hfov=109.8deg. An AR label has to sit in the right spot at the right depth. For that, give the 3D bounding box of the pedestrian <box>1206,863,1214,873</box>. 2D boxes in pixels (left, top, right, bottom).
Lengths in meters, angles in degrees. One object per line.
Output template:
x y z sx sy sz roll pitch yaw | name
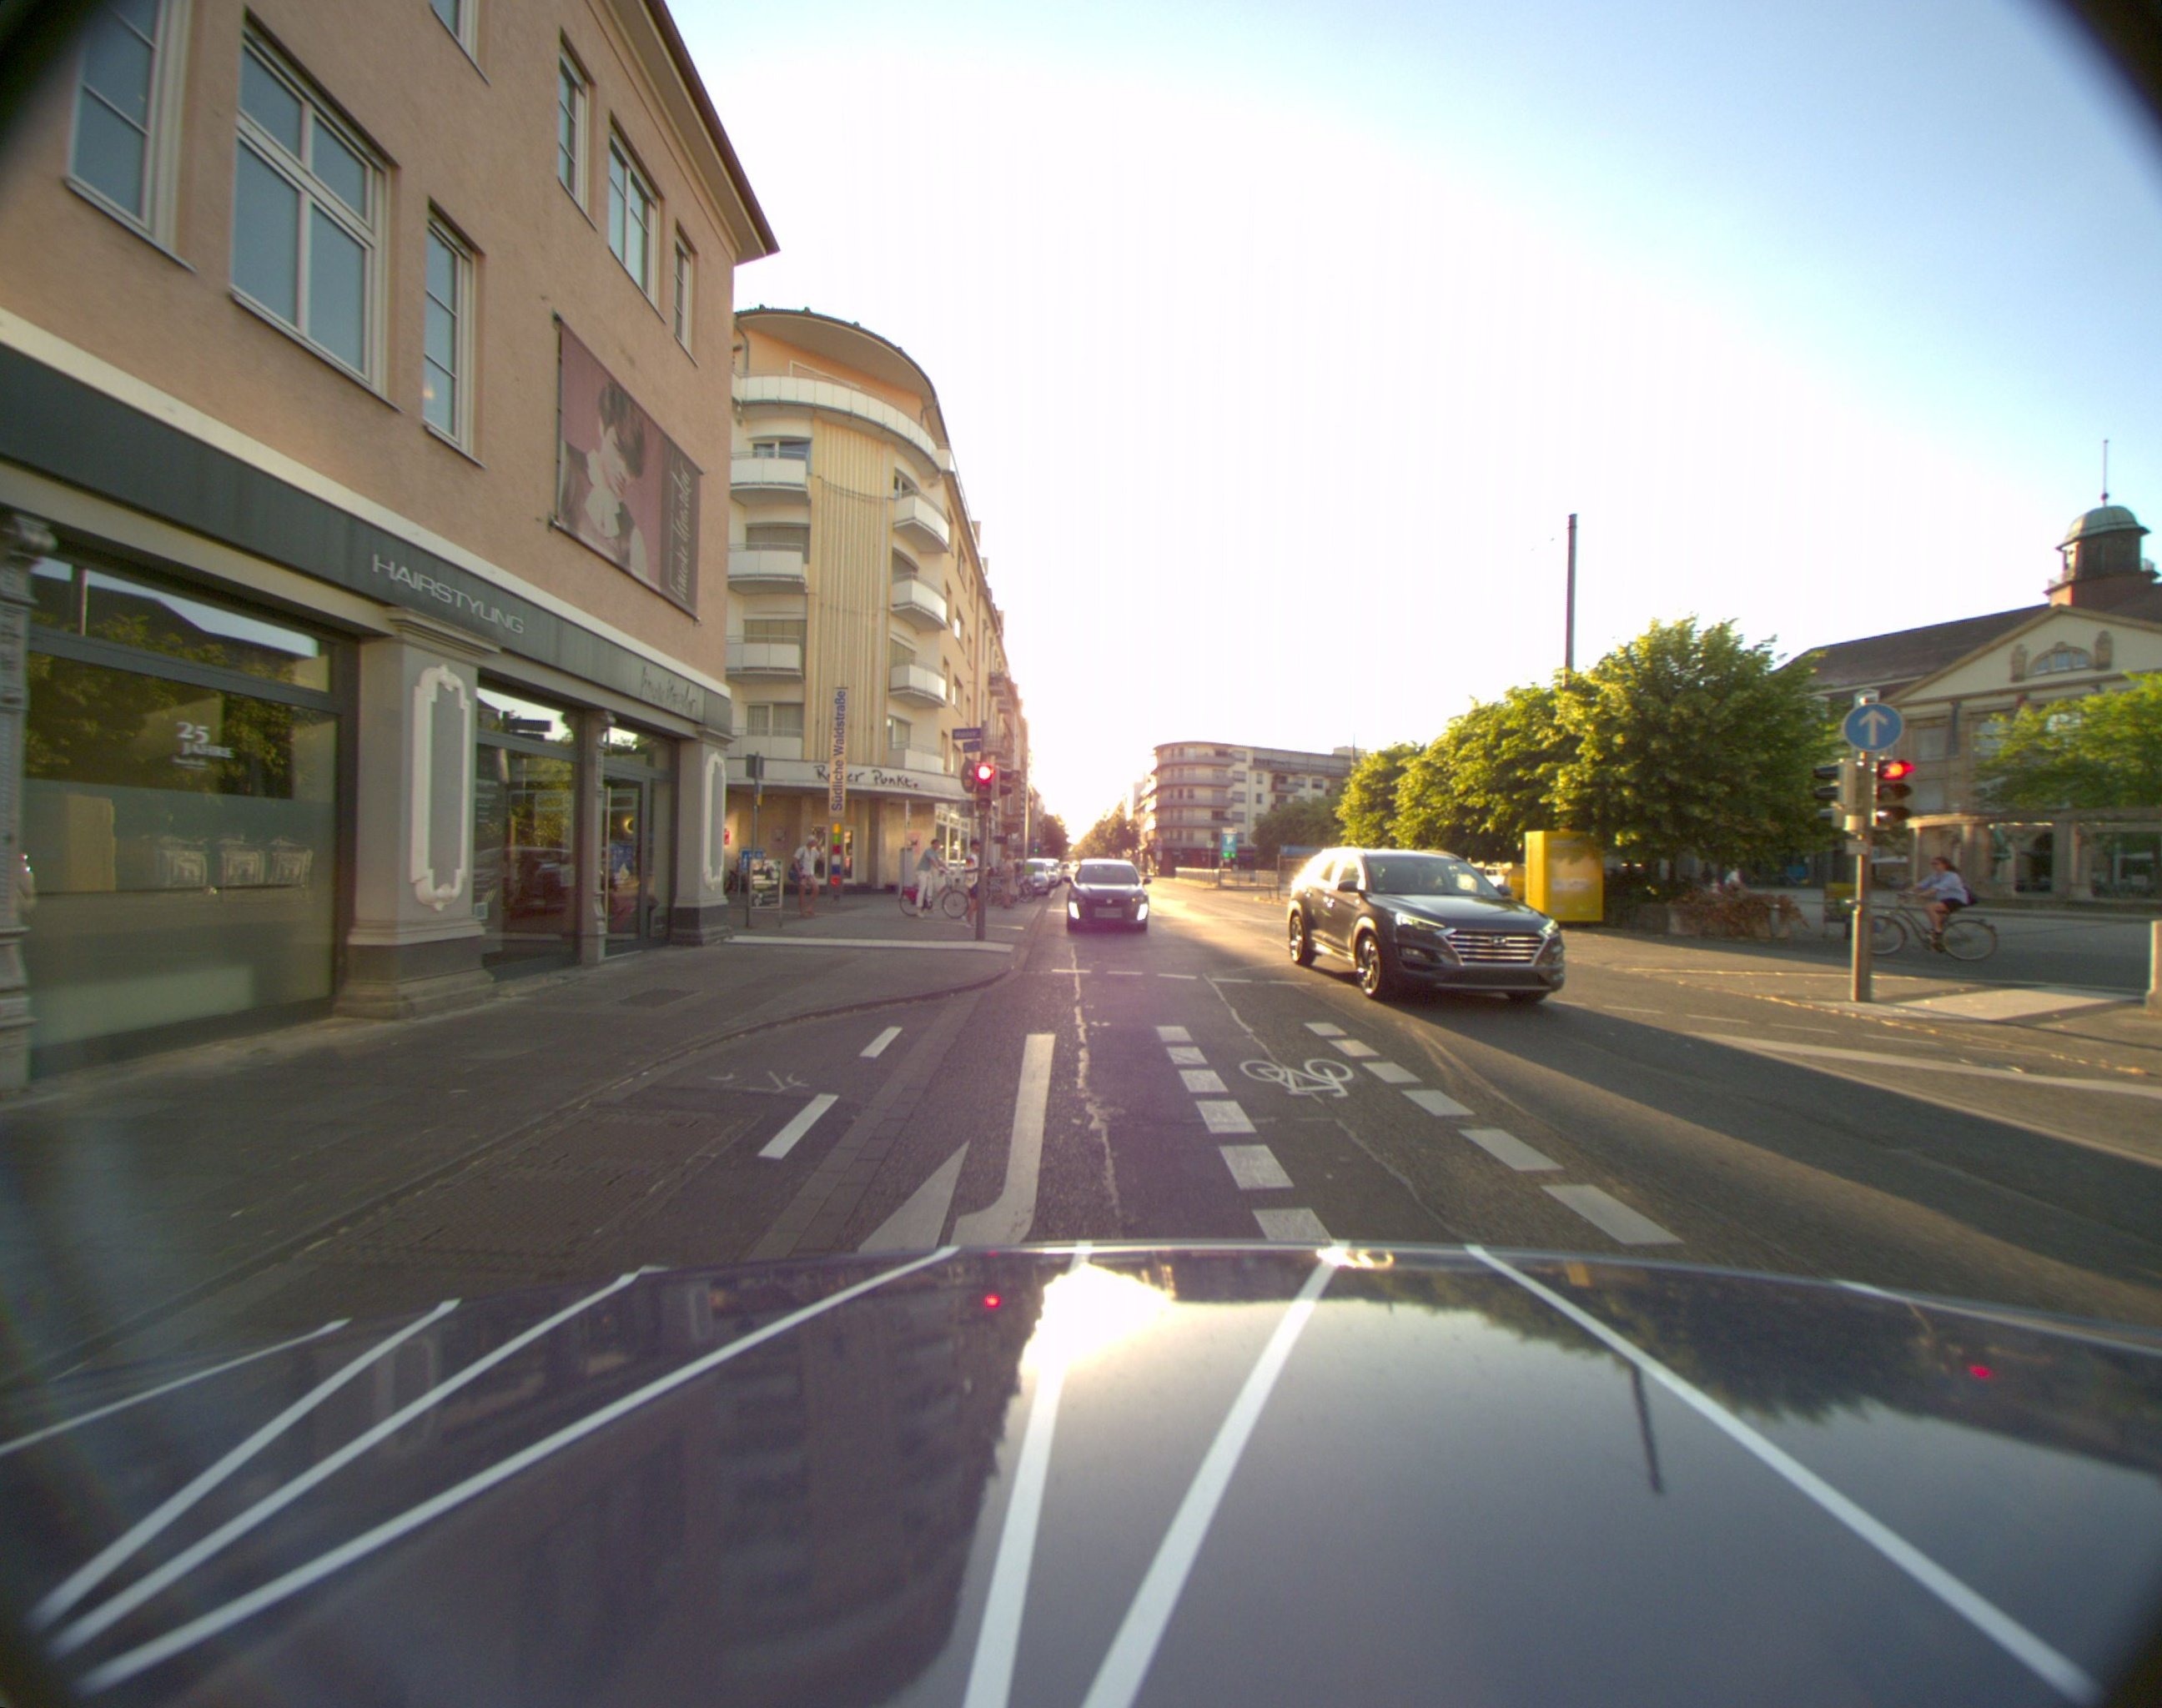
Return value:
17.441 1.847 102.677 0.689 1.314 0.819 1 0 -25 | pedestrian

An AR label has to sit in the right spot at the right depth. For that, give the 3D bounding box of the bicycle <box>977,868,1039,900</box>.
-2.667 1.081 27.599 2.176 1.069 0.805 2 0 -8 | bicycle

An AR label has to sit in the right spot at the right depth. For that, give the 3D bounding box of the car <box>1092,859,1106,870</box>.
2.660 1.504 110.877 1.790 1.458 3.956 2 0 -2 | car

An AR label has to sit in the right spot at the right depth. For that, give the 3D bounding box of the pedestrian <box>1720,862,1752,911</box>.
22.240 1.074 25.817 0.703 1.611 0.842 0 1 32 | pedestrian

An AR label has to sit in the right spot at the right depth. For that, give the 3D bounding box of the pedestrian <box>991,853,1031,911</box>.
-2.054 0.795 22.263 0.789 1.643 0.782 1 0 42 | pedestrian

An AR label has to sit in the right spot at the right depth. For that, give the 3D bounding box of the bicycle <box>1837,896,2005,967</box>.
14.927 1.357 13.561 1.917 1.111 0.706 1 0 16 | bicycle

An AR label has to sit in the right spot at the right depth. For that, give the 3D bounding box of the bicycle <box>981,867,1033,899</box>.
-2.775 1.083 28.597 1.851 1.117 0.594 2 1 -12 | bicycle

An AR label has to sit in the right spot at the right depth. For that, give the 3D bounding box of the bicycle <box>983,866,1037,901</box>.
-2.508 1.032 26.807 1.788 1.166 0.621 3 0 -12 | bicycle

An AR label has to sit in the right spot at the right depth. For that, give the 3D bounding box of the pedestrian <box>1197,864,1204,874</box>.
15.910 1.976 101.201 0.732 1.314 0.889 1 0 -2 | pedestrian

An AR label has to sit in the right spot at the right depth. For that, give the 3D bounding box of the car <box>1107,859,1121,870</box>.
5.401 1.701 126.333 1.999 1.805 3.999 1 0 -2 | car

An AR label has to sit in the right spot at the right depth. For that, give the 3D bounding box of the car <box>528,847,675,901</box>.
-15.291 0.599 24.269 3.980 1.583 1.838 1 0 19 | car

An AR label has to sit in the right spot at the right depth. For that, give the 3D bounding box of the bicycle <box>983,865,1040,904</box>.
-2.319 1.018 25.273 1.849 1.232 0.639 2 0 -6 | bicycle

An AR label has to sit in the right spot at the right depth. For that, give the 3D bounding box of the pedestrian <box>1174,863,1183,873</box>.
12.806 1.885 99.989 0.890 1.314 0.731 1 0 -28 | pedestrian

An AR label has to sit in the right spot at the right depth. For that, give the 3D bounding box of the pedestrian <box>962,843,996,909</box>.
-2.881 0.621 21.426 0.826 1.806 0.870 1 0 -14 | pedestrian

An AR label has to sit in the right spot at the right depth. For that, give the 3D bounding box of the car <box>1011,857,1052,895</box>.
-2.236 0.974 34.871 1.702 1.607 4.681 1 0 -3 | car

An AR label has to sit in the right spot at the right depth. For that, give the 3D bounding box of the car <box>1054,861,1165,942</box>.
0.765 0.897 16.265 1.907 1.438 4.453 1 0 8 | car

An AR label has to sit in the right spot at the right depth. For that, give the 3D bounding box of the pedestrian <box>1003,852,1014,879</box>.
-5.473 0.872 57.411 0.673 2.002 0.851 1 0 0 | pedestrian

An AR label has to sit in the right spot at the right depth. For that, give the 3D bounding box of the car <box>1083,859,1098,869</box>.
1.497 1.621 123.165 1.878 1.621 4.176 4 -1 -6 | car

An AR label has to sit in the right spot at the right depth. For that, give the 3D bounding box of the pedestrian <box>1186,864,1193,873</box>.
14.290 1.960 100.211 0.887 1.185 0.733 1 0 9 | pedestrian

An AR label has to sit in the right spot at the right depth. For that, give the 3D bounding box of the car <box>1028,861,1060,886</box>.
-2.209 1.144 46.840 1.738 1.448 4.610 1 0 0 | car

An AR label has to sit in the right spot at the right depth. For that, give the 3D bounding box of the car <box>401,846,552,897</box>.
-20.473 0.547 25.754 4.431 1.575 1.949 1 0 20 | car

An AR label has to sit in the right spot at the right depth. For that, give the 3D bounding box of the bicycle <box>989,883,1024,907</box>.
-2.334 1.269 23.704 1.008 0.677 1.049 1 0 -10 | bicycle

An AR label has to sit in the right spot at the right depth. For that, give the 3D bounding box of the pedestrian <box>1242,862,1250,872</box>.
22.500 1.805 103.514 0.731 1.314 0.891 1 0 38 | pedestrian

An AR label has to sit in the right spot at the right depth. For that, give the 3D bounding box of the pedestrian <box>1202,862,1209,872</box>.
16.596 1.721 101.378 0.733 1.314 0.888 1 0 -3 | pedestrian

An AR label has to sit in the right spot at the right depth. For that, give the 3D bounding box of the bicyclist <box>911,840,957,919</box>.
-3.461 0.592 17.935 0.835 1.815 0.831 1 0 7 | bicyclist

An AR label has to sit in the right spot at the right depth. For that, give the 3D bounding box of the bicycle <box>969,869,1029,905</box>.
-2.637 1.066 24.331 1.788 1.057 0.718 3 0 -12 | bicycle

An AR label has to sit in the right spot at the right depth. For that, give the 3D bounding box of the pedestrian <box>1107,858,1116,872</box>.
3.326 1.168 83.652 0.678 1.508 0.676 1 0 -43 | pedestrian

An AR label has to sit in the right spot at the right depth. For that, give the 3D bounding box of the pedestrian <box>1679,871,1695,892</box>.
30.834 1.406 38.675 0.461 1.056 0.531 -1 -2 19 | pedestrian

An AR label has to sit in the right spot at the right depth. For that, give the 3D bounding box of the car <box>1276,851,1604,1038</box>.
3.908 0.861 9.295 1.877 1.679 4.450 2 0 0 | car

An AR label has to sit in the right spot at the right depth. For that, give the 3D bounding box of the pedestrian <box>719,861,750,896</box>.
-11.744 0.815 25.762 0.636 1.178 0.706 1 0 16 | pedestrian

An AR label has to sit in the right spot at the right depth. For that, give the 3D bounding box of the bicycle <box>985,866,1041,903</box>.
-2.330 1.042 26.020 1.789 1.166 0.621 3 0 -12 | bicycle

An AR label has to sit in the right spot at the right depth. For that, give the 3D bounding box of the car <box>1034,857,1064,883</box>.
-2.175 1.080 52.392 1.877 1.664 4.430 1 0 0 | car

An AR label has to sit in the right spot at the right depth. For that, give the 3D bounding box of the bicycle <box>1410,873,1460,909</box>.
12.661 1.314 27.211 1.590 1.245 0.445 0 0 -2 | bicycle

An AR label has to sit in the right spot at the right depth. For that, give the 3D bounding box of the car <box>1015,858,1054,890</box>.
-2.464 1.033 41.214 1.821 1.611 4.203 1 0 0 | car

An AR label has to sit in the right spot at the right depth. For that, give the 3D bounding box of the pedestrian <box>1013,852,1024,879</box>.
-4.678 0.873 56.738 0.763 2.002 0.851 1 0 0 | pedestrian

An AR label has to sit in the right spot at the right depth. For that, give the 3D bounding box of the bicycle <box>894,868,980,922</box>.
-3.385 0.956 17.948 1.823 1.179 0.794 1 0 8 | bicycle

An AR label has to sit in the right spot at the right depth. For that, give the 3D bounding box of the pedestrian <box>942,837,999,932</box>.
-2.286 0.619 15.657 0.942 1.886 0.824 1 0 -22 | pedestrian

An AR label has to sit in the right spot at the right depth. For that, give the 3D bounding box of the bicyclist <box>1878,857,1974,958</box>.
15.016 0.924 13.531 0.777 1.714 0.856 1 0 15 | bicyclist

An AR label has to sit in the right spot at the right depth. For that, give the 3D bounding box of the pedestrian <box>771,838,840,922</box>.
-6.040 0.551 16.688 1.098 1.764 0.827 1 0 17 | pedestrian
